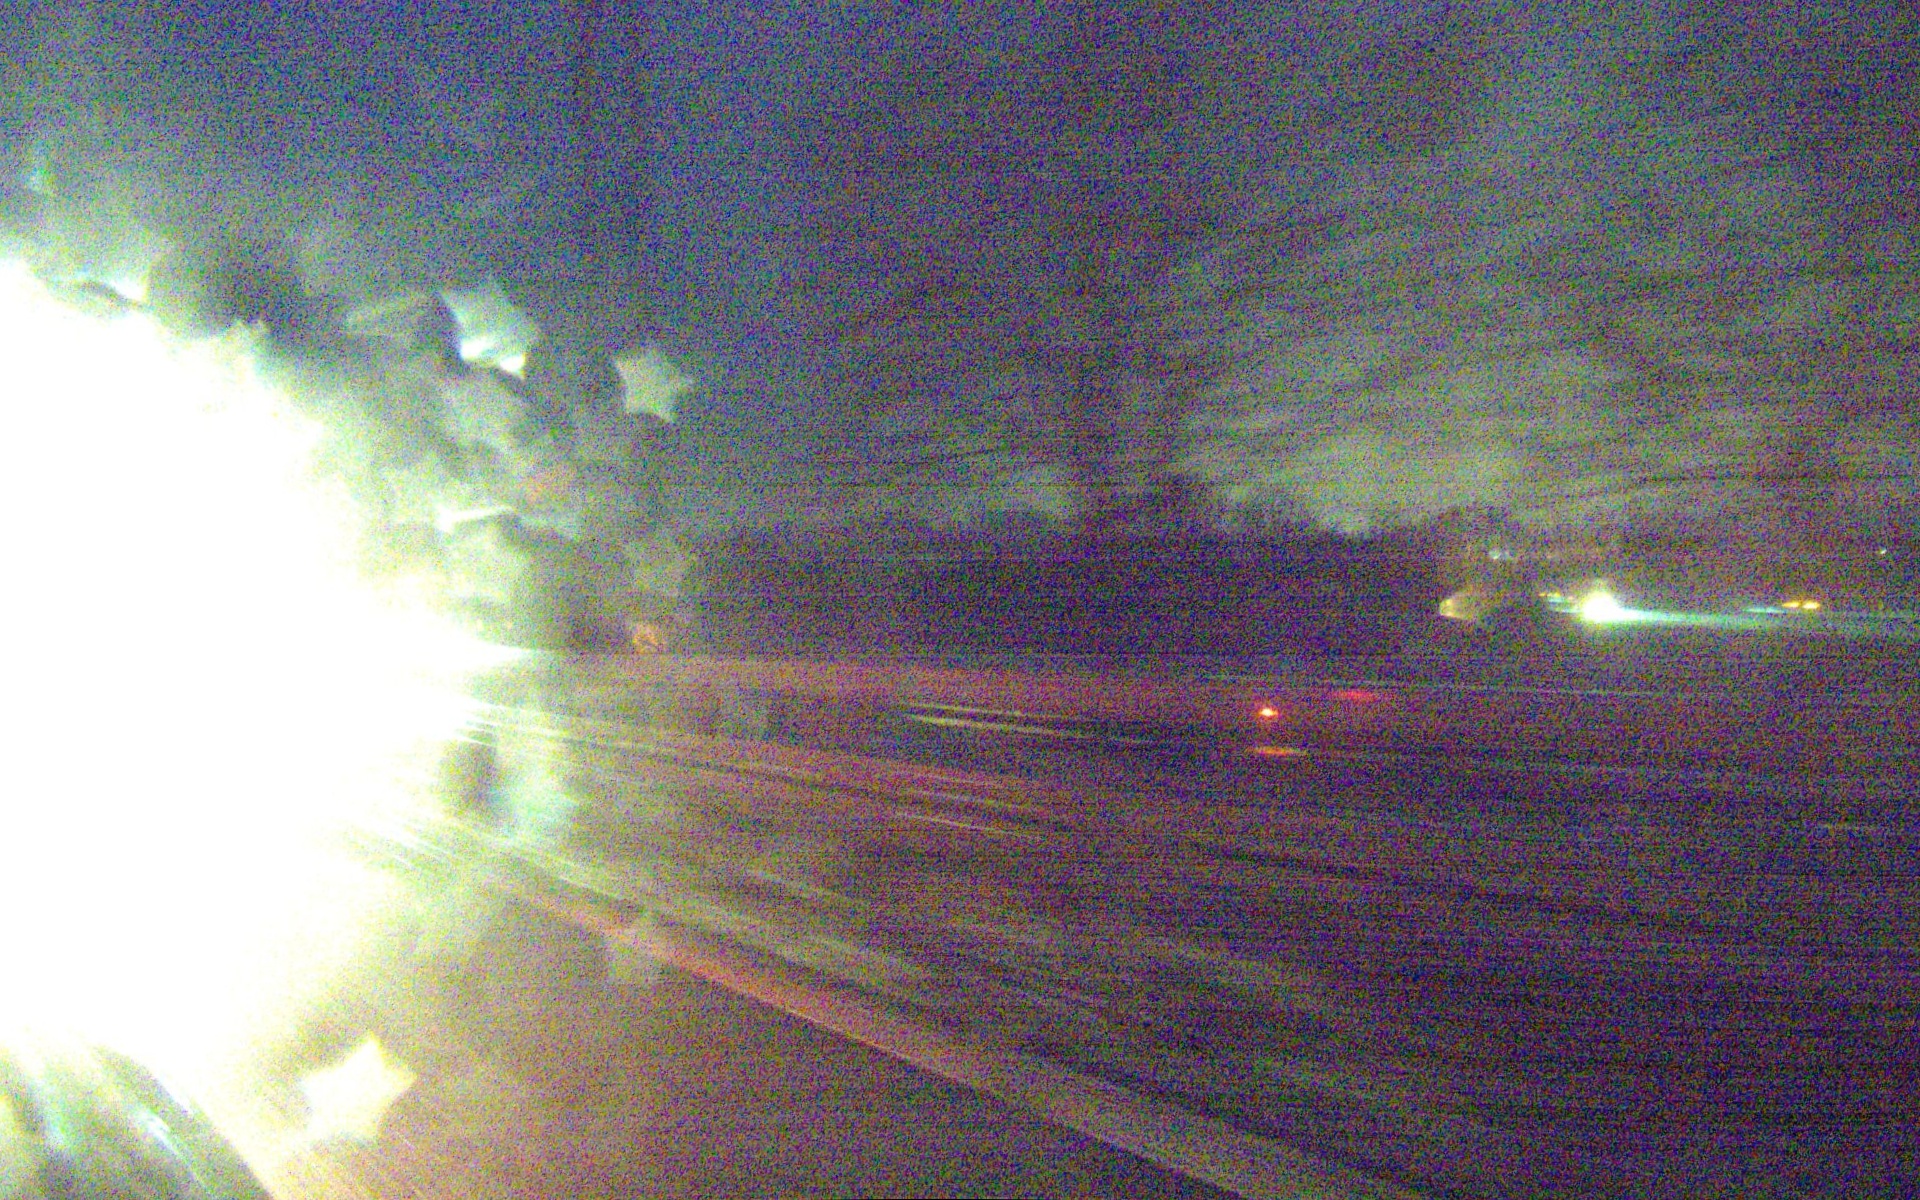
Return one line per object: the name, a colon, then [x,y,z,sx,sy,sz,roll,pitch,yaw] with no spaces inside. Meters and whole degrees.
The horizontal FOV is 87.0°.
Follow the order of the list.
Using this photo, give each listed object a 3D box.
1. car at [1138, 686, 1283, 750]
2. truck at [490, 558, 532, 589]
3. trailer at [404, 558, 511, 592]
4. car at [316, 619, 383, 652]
car: [7.620,3.526,30.734,4.072,1.436,1.733,2,2,22]
truck: [-65.573,-3.891,147.868,5.467,4.368,2.549,-3,4,-24]
trailer: [-71.880,-3.593,145.065,13.473,4.368,2.549,-3,4,-24]
car: [-33.911,1.928,56.197,4.037,1.501,1.743,3,2,36]
